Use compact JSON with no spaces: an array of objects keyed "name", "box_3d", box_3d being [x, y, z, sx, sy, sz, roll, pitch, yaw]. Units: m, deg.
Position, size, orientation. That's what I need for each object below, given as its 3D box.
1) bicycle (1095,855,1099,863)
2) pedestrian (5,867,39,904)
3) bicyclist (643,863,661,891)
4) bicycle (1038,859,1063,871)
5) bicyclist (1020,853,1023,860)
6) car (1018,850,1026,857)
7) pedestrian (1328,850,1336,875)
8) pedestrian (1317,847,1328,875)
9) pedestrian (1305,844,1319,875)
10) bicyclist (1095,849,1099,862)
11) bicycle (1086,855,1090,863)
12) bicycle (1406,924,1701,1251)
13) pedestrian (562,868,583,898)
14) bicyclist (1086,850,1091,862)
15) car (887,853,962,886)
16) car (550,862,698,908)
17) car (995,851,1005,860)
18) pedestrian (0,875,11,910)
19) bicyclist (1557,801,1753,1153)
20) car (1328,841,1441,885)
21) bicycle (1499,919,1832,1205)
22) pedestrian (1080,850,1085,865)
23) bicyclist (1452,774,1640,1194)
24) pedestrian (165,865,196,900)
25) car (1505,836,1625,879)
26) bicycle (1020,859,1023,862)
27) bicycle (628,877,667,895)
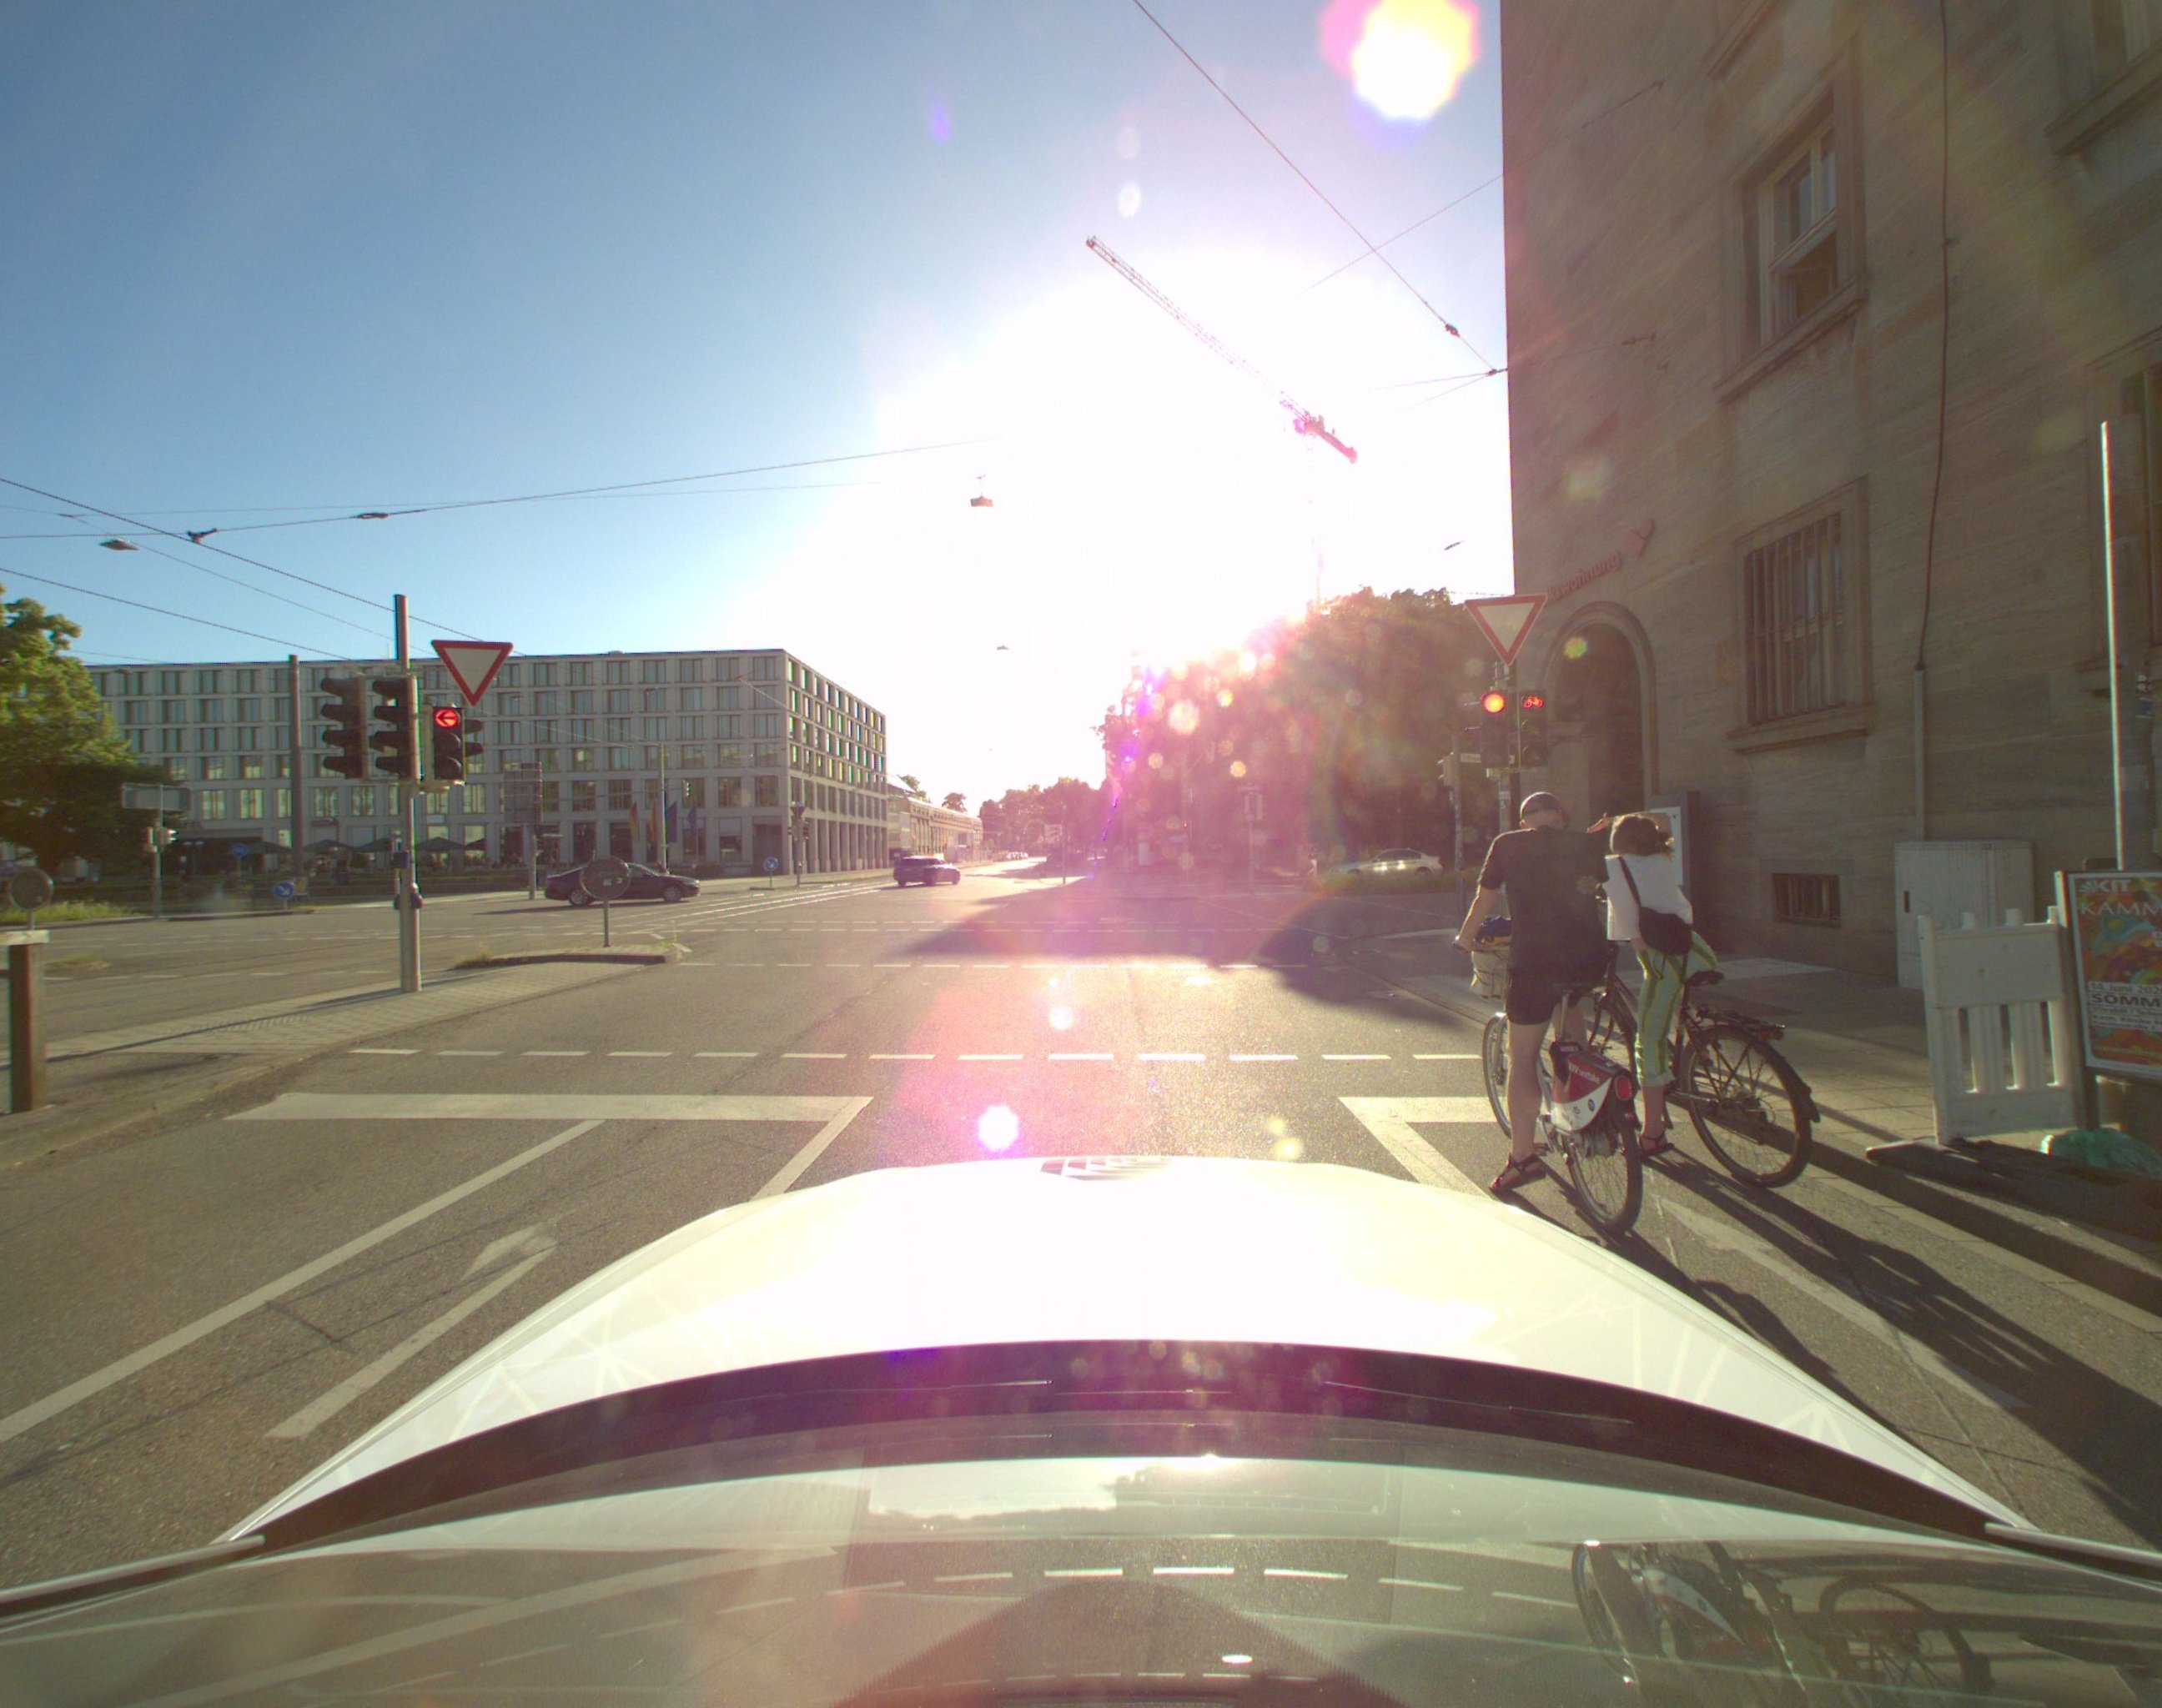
[{"name":"bicycle","box_3d":[2.195,0.683,112.826,0.573,1.077,1.831,-2,0,1]},{"name":"pedestrian","box_3d":[-58.957,1.736,45.350,0.838,2.014,0.826,-1,-1,7]},{"name":"bicyclist","box_3d":[-24.703,1.303,46.889,0.778,1.589,0.756,-2,0,-23]},{"name":"bicycle","box_3d":[-2.564,0.907,67.705,1.996,0.891,0.655,-4,-1,29]},{"name":"bicyclist","box_3d":[-11.137,0.476,152.273,0.594,1.377,0.637,0,-1,0]},{"name":"car","box_3d":[-14.220,-0.112,195.324,1.688,1.718,4.245,0,-1,-1]},{"name":"pedestrian","box_3d":[13.386,0.448,43.423,0.316,1.316,0.345,0,1,4]},{"name":"pedestrian","box_3d":[13.098,0.356,44.247,0.437,1.503,0.437,-2,0,3]},{"name":"pedestrian","box_3d":[12.381,0.292,43.654,0.580,1.663,0.515,0,1,4]},{"name":"bicyclist","box_3d":[2.190,0.205,112.814,0.567,1.691,0.700,-2,0,1]},{"name":"bicycle","box_3d":[0.973,0.689,112.695,0.573,1.077,1.831,-2,0,1]},{"name":"bicycle","box_3d":[2.123,0.956,3.937,0.513,1.077,1.729,-1,0,4]},{"name":"pedestrian","box_3d":[-28.473,1.616,45.573,0.774,1.589,0.589,-2,0,-8]},{"name":"bicyclist","box_3d":[1.014,0.304,112.633,0.567,1.691,0.700,-2,0,1]},{"name":"car","box_3d":[-7.936,0.741,41.793,1.878,1.565,4.826,0,0,14]},{"name":"car","box_3d":[-16.088,1.058,28.927,4.438,1.455,1.652,-1,0,-24]},{"name":"car","box_3d":[-15.652,0.269,157.075,1.688,1.718,4.245,0,-1,-1]},{"name":"pedestrian","box_3d":[-59.101,2.117,44.247,0.712,1.900,0.876,0,-1,5]},{"name":"bicyclist","box_3d":[2.956,0.590,4.247,0.556,1.691,0.640,-1,0,0]},{"name":"car","box_3d":[12.351,0.352,33.255,3.979,1.611,1.650,-2,0,1]},{"name":"bicycle","box_3d":[2.945,0.957,4.354,0.532,1.077,1.751,-1,0,1]},{"name":"pedestrian","box_3d":[0.169,0.374,98.472,0.462,1.813,0.502,-2,0,-3]},{"name":"bicyclist","box_3d":[2.125,0.560,3.780,0.556,1.799,0.551,-1,0,3]},{"name":"pedestrian","box_3d":[-49.436,1.578,44.735,0.711,1.900,0.877,-1,-1,10]},{"name":"car","box_3d":[19.541,0.135,32.973,3.835,1.611,1.650,-2,0,1]},{"name":"bicycle","box_3d":[-11.130,1.143,152.281,0.499,0.515,1.258,0,-1,1]},{"name":"bicycle","box_3d":[-24.886,1.819,46.810,1.865,0.935,0.757,-2,0,-23]}]
